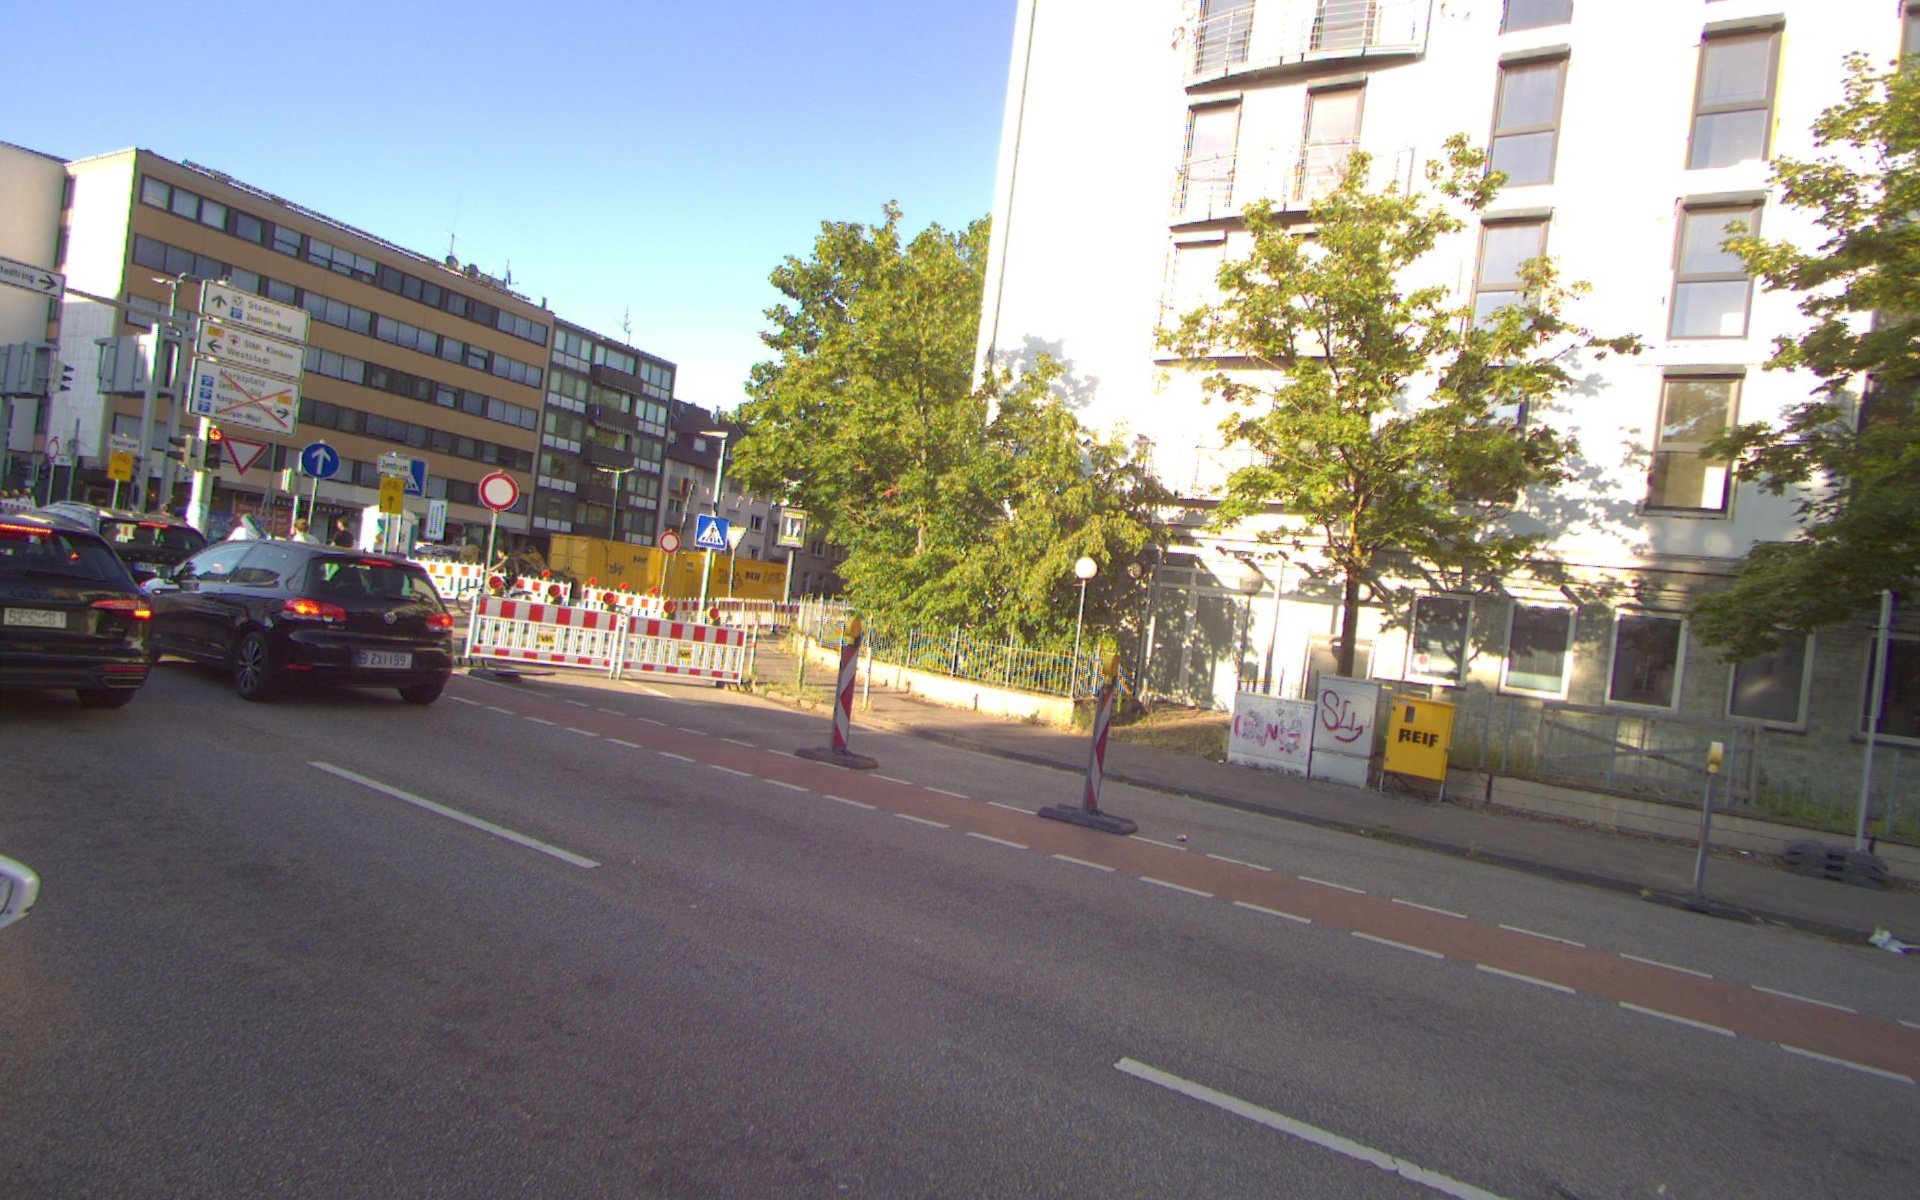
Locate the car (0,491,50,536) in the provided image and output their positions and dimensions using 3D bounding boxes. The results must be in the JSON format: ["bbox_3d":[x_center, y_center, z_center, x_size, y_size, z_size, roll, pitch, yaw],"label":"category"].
[{"bbox_3d":[-33.863,-3.147,34.411,1.668,1.405,3.679,7,0,30],"label":"car"}]

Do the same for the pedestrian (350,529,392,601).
[{"bbox_3d":[-14.586,-0.859,24.916,0.446,1.691,0.604,7,0,12],"label":"pedestrian"}]

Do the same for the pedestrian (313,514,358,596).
[{"bbox_3d":[-14.893,-1.069,23.986,0.478,1.857,0.571,7,0,17],"label":"pedestrian"}]

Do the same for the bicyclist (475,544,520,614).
[{"bbox_3d":[-11.486,-0.523,25.004,0.804,1.607,0.616,8,0,-22],"label":"bicyclist"}]

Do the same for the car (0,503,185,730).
[{"bbox_3d":[-7.811,-0.084,7.555,4.144,1.437,1.685,7,-2,32],"label":"car"}]

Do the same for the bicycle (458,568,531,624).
[{"bbox_3d":[-11.539,-0.091,24.995,1.480,1.174,0.372,9,-1,-21],"label":"bicycle"}]

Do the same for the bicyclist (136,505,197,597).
[{"bbox_3d":[-14.186,-0.879,17.982,0.713,1.544,0.514,7,0,32],"label":"bicyclist"}]

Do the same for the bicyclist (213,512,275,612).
[{"bbox_3d":[-11.732,-0.619,16.484,0.713,1.544,0.441,7,0,32],"label":"bicyclist"}]

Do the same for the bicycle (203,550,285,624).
[{"bbox_3d":[-11.714,-0.224,16.439,1.825,1.020,0.337,7,0,32],"label":"bicycle"}]

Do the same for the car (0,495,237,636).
[{"bbox_3d":[-11.391,-0.482,13.503,3.250,1.467,1.507,7,0,32],"label":"car"}]

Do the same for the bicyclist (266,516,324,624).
[{"bbox_3d":[-10.041,-0.451,15.195,0.474,1.544,0.441,7,0,31],"label":"bicyclist"}]

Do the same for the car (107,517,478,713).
[{"bbox_3d":[-6.851,0.127,10.257,3.683,1.466,1.637,7,-2,32],"label":"car"}]

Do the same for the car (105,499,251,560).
[{"bbox_3d":[-32.385,-2.870,41.789,1.966,1.839,4.224,7,-1,29],"label":"car"}]
